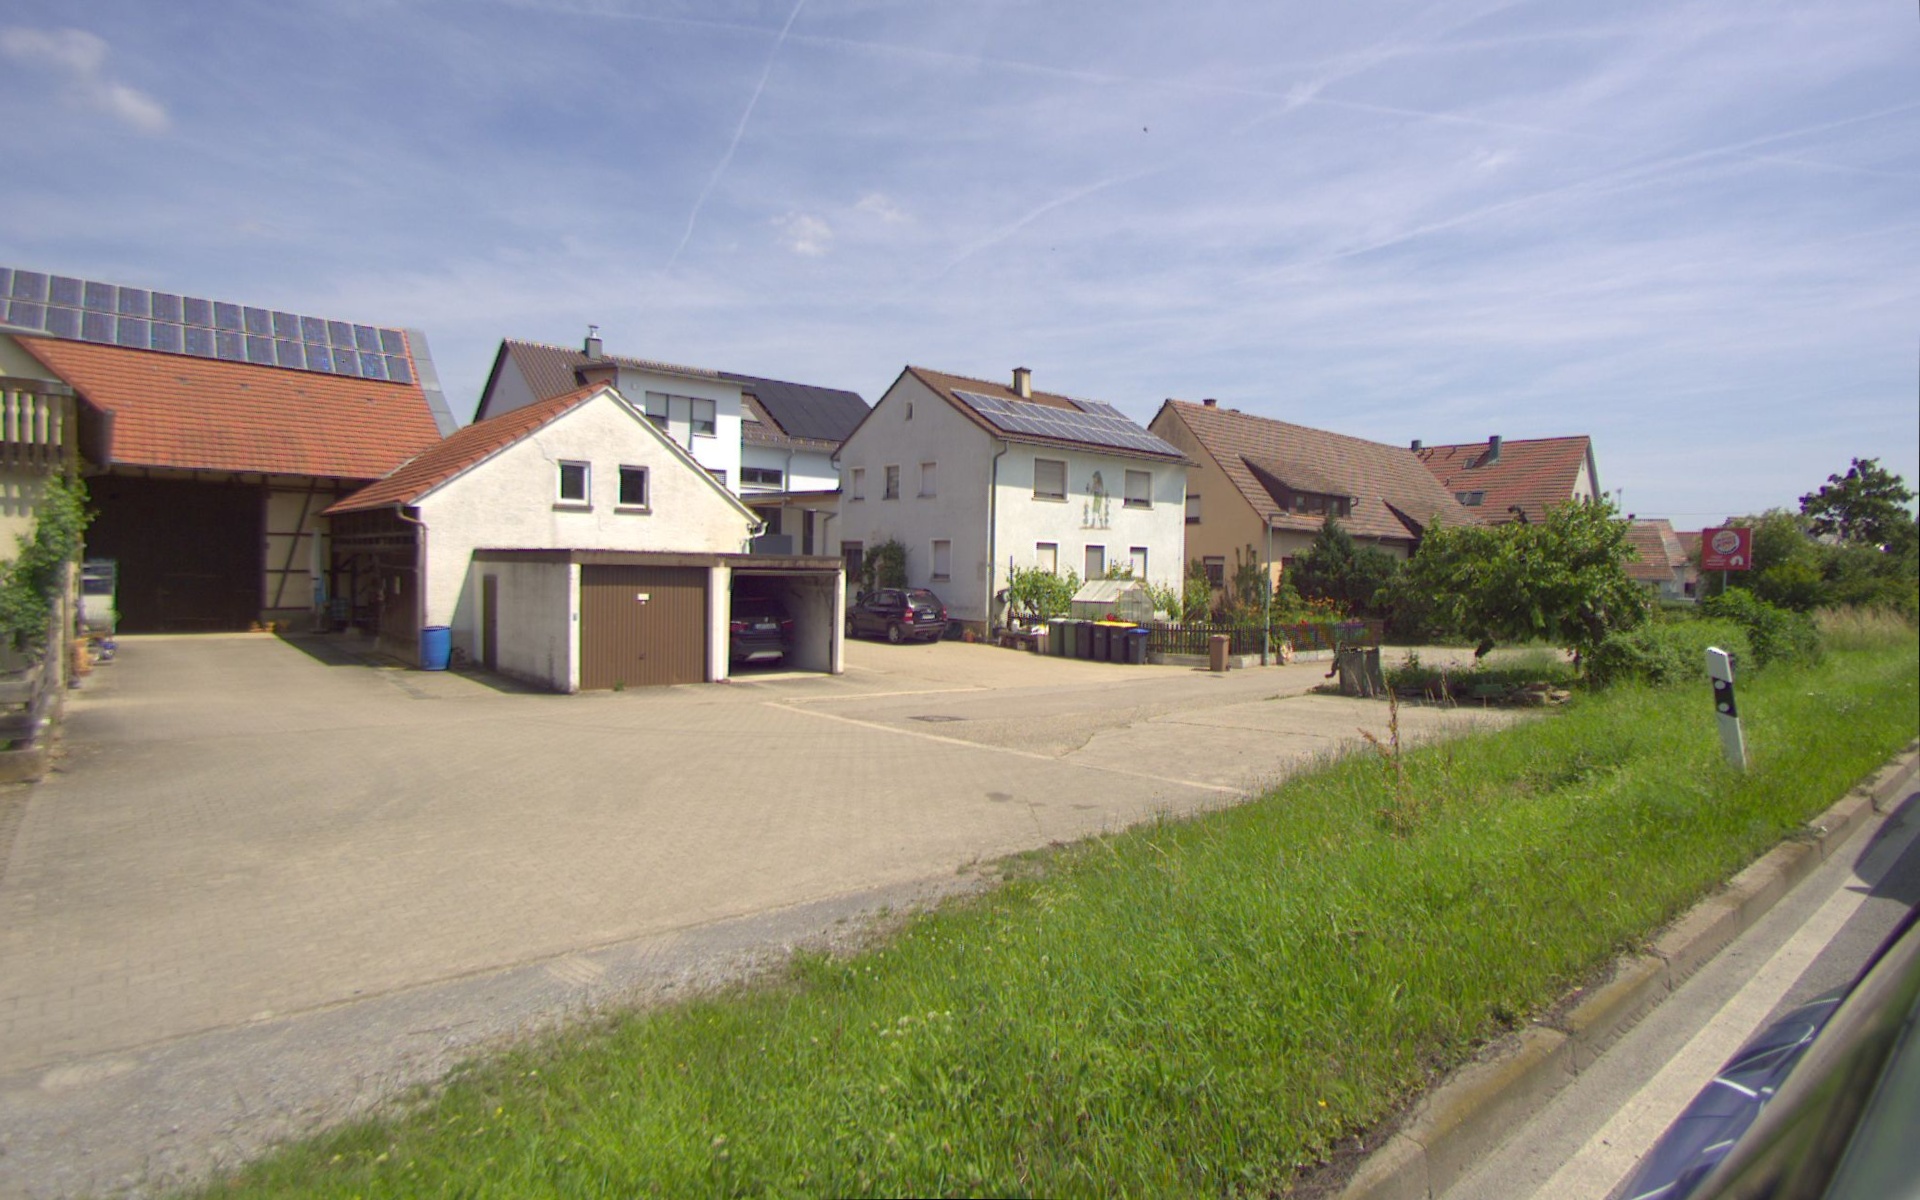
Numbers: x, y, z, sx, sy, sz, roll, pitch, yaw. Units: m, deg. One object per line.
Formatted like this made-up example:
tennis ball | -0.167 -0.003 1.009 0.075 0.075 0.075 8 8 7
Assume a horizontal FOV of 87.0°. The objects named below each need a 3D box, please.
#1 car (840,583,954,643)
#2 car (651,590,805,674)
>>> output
car | -2.126 0.363 33.185 1.810 1.714 3.959 -1 3 -38
car | -5.317 0.639 22.874 1.802 1.597 3.996 -1 2 -40
